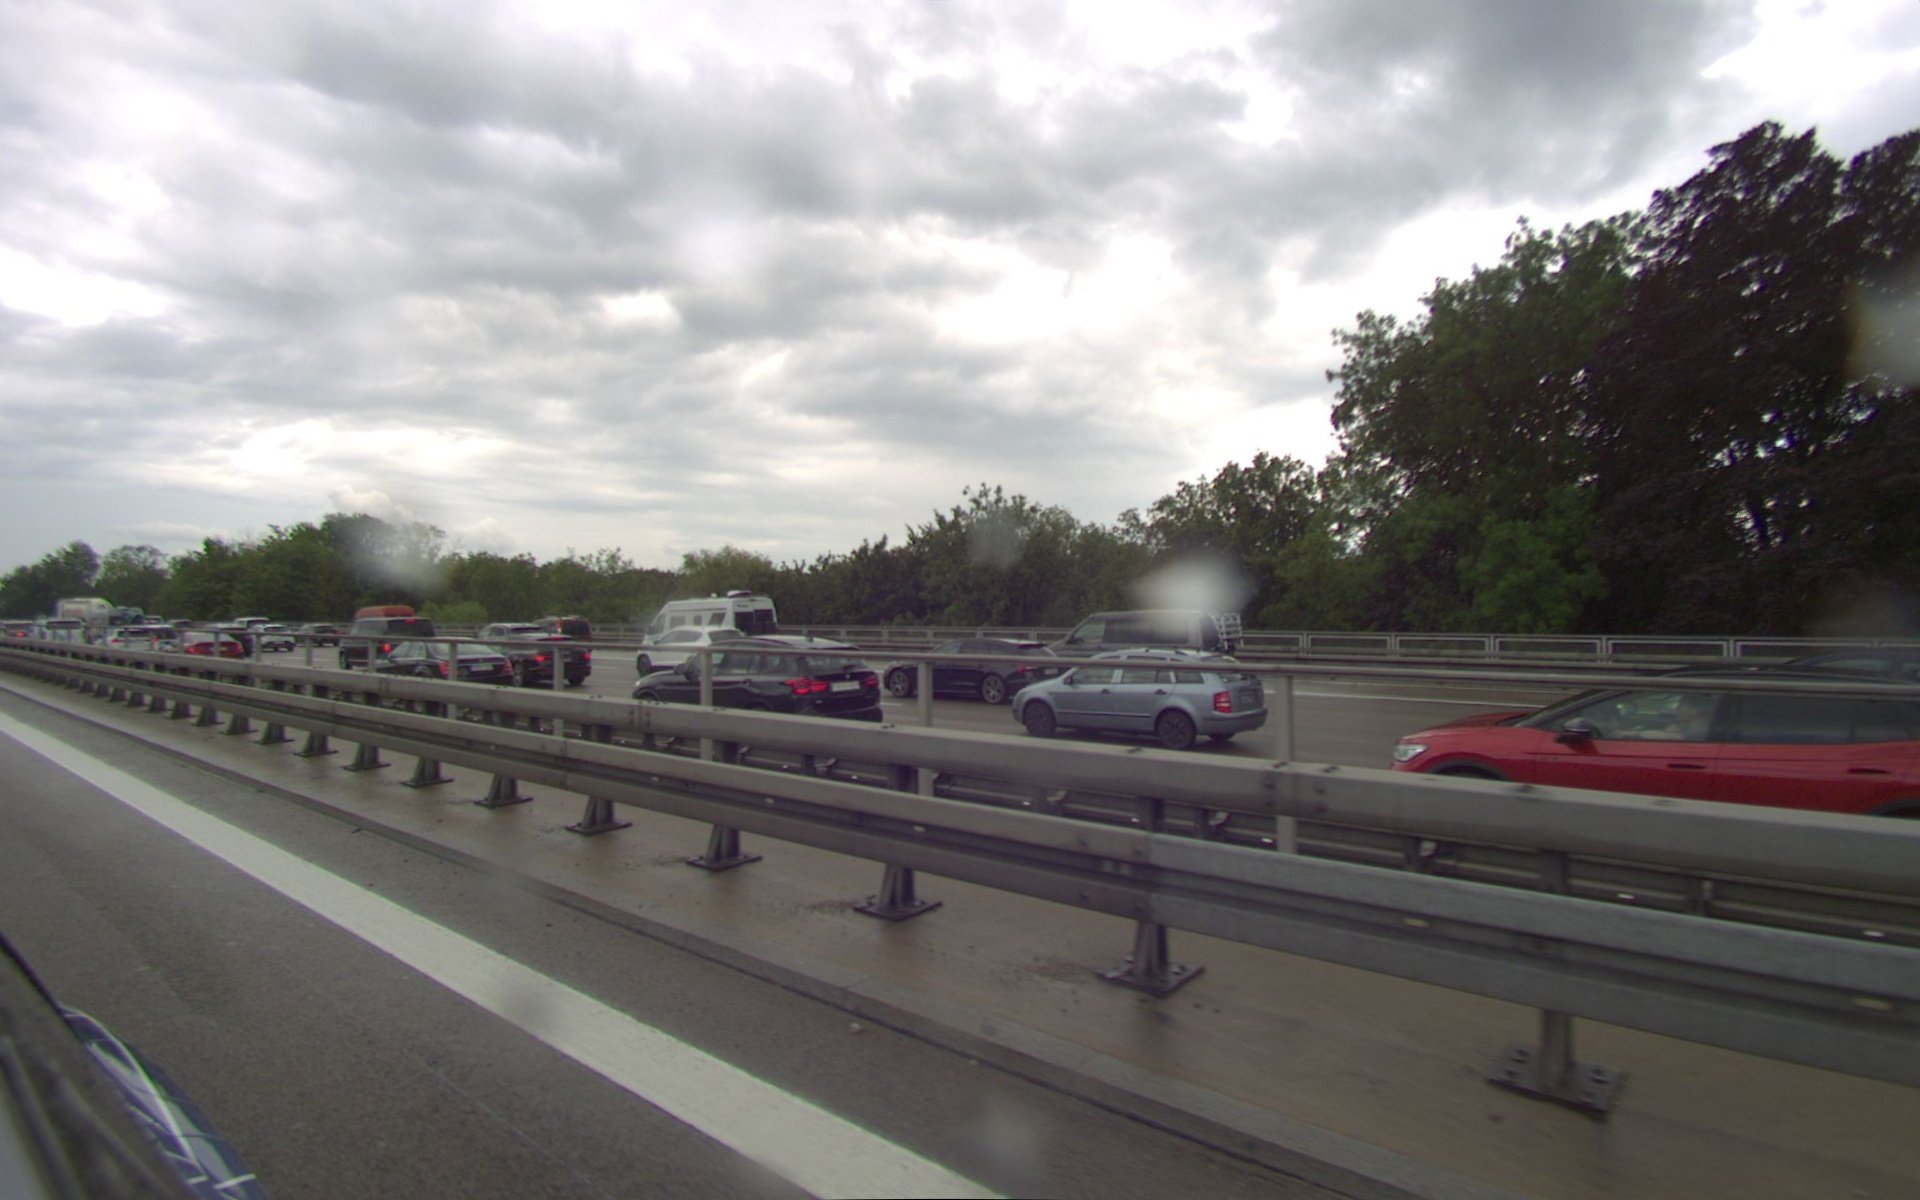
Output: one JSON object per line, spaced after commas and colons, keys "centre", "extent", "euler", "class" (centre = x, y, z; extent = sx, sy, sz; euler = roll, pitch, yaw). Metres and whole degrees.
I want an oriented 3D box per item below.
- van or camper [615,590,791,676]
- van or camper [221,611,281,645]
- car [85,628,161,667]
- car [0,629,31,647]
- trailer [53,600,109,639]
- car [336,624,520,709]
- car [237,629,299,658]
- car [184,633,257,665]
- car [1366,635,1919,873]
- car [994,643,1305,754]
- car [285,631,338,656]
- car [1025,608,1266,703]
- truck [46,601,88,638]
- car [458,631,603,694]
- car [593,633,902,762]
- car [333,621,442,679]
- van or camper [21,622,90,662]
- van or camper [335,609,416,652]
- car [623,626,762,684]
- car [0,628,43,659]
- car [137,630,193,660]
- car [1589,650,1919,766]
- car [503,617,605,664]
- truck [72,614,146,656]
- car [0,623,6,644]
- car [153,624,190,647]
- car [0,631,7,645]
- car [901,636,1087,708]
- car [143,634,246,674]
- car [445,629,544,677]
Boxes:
{"centre": [-9.261, 1.162, 35.953], "extent": [7.223, 2.786, 2.180], "euler": [-2, -2, 39], "class": "van or camper"}
{"centre": [-51.203, 1.981, 73.035], "extent": [5.929, 2.347, 2.025], "euler": [-1, -2, 40], "class": "van or camper"}
{"centre": [-37.804, 2.101, 45.672], "extent": [5.355, 1.688, 1.806], "euler": [-2, -2, 41], "class": "car"}
{"centre": [-87.664, 3.526, 93.712], "extent": [4.414, 1.660, 1.814], "euler": [-2, -2, 39], "class": "car"}
{"centre": [-93.864, 2.125, 107.952], "extent": [13.207, 3.988, 2.437], "euler": [-2, -2, 40], "class": "trailer"}
{"centre": [-12.955, 1.512, 24.467], "extent": [5.702, 1.840, 1.847], "euler": [-2, -2, 39], "class": "car"}
{"centre": [-38.821, 2.414, 56.712], "extent": [3.995, 1.512, 1.773], "euler": [-1, -2, 39], "class": "car"}
{"centre": [-36.956, 2.432, 50.522], "extent": [5.010, 1.420, 1.660], "euler": [0, -2, 39], "class": "car"}
{"centre": [5.898, 1.016, 7.719], "extent": [4.836, 1.474, 1.975], "euler": [-2, -2, 39], "class": "car"}
{"centre": [2.854, 1.420, 15.789], "extent": [4.471, 1.436, 1.799], "euler": [-1, -2, 39], "class": "car"}
{"centre": [-41.217, 2.739, 64.271], "extent": [4.607, 1.486, 1.470], "euler": [-1, -2, 40], "class": "car"}
{"centre": [4.311, 1.241, 24.156], "extent": [5.406, 2.029, 1.974], "euler": [-1, -2, 39], "class": "car"}
{"centre": [-99.262, 2.212, 112.485], "extent": [6.976, 3.995, 2.437], "euler": [-2, -2, 40], "class": "truck"}
{"centre": [-12.124, 1.689, 28.434], "extent": [4.457, 1.625, 1.845], "euler": [-1, -2, 39], "class": "car"}
{"centre": [-3.430, 1.364, 15.699], "extent": [5.168, 1.682, 1.849], "euler": [-2, -2, 39], "class": "car"}
{"centre": [-20.424, 1.719, 36.013], "extent": [5.000, 1.916, 1.873], "euler": [-1, -2, 42], "class": "car"}
{"centre": [-50.261, 2.313, 56.211], "extent": [5.636, 2.084, 1.964], "euler": [-2, -2, 39], "class": "van or camper"}
{"centre": [-33.283, 1.732, 57.537], "extent": [6.229, 2.322, 1.920], "euler": [-1, -2, 40], "class": "van or camper"}
{"centre": [-8.059, 1.592, 30.270], "extent": [4.457, 1.625, 1.710], "euler": [-1, -2, 39], "class": "car"}
{"centre": [-61.883, 2.844, 66.451], "extent": [4.722, 1.964, 1.928], "euler": [-2, -2, 41], "class": "car"}
{"centre": [-45.752, 2.558, 58.199], "extent": [3.995, 1.648, 1.660], "euler": [-2, -3, 39], "class": "car"}
{"centre": [10.894, 1.375, 13.625], "extent": [3.995, 1.310, 1.433], "euler": [-1, -2, 39], "class": "car"}
{"centre": [-17.850, 1.737, 44.404], "extent": [4.754, 1.960, 2.056], "euler": [-1, -2, 39], "class": "car"}
{"centre": [-55.471, 2.261, 65.879], "extent": [8.747, 2.622, 2.125], "euler": [-2, -2, 39], "class": "truck"}
{"centre": [-72.388, 2.467, 74.945], "extent": [5.918, 1.486, 1.813], "euler": [-2, -2, 40], "class": "car"}
{"centre": [-65.870, 2.931, 84.529], "extent": [3.997, 1.844, 1.703], "euler": [-1, -2, 41], "class": "car"}
{"centre": [-115.188, 4.576, 120.771], "extent": [3.996, 1.628, 1.603], "euler": [-2, -2, 40], "class": "car"}
{"centre": [0.703, 1.544, 22.529], "extent": [3.995, 1.429, 1.617], "euler": [-1, -2, 39], "class": "car"}
{"centre": [-28.887, 1.975, 38.110], "extent": [5.359, 1.403, 1.855], "euler": [-2, -2, 39], "class": "car"}
{"centre": [-17.214, 1.901, 37.347], "extent": [3.999, 1.657, 1.889], "euler": [-1, -2, 42], "class": "car"}
